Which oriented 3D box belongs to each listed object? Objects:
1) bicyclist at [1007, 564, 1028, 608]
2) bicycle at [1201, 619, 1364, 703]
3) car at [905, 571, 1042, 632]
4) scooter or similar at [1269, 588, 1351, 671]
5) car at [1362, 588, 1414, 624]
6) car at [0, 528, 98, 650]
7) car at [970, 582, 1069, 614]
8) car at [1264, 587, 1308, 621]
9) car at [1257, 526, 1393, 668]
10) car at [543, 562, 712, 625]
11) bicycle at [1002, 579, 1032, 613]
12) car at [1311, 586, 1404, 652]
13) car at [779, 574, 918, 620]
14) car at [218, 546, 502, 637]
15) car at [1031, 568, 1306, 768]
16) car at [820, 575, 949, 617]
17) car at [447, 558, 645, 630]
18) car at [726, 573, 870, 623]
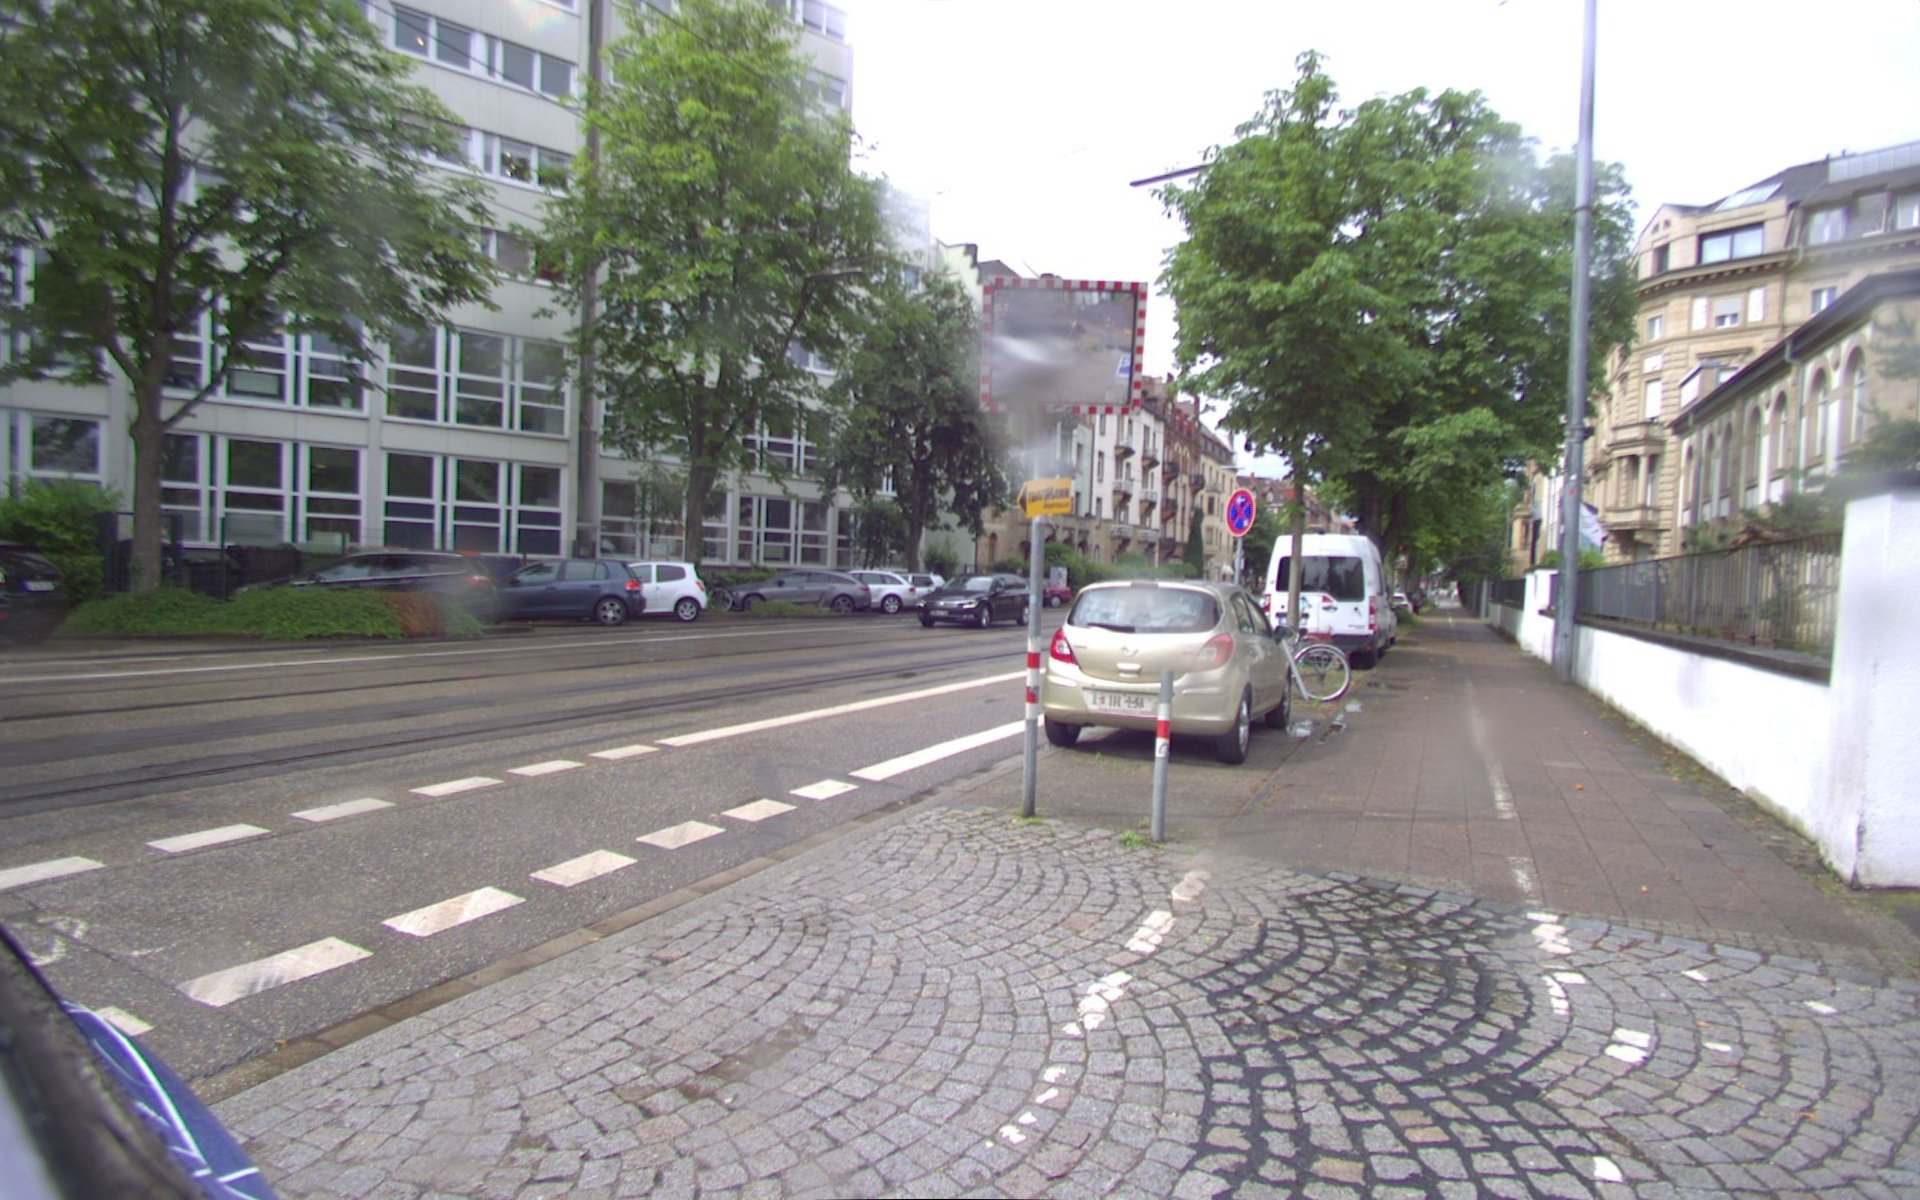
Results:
[{"bbox_3d":[2.190,-0.534,38.584,0.641,1.629,0.669,1,1,21],"label":"bicyclist"},{"bbox_3d":[4.115,0.748,12.952,1.917,0.994,0.679,0,1,25],"label":"bicycle"},{"bbox_3d":[0.477,-0.005,27.381,1.988,1.492,4.725,1,1,24],"label":"car"},{"bbox_3d":[5.696,0.482,16.494,1.132,1.286,0.426,3,-1,1],"label":"scooter or similar"},{"bbox_3d":[19.659,0.252,46.396,1.787,1.508,3.991,1,2,28],"label":"car"},{"bbox_3d":[-13.806,-0.193,12.894,3.913,1.492,1.821,1,1,-12],"label":"car"},{"bbox_3d":[2.830,-0.108,48.583,4.368,1.463,1.910,0,1,-10],"label":"car"},{"bbox_3d":[15.463,0.147,47.943,1.606,1.526,2.584,1,1,26],"label":"car"},{"bbox_3d":[7.650,-0.066,20.838,2.128,2.529,5.228,1,0,25],"label":"car"},{"bbox_3d":[-8.148,-0.175,24.887,3.815,1.464,1.783,0,1,-19],"label":"car"},{"bbox_3d":[2.189,-0.165,38.589,0.641,1.275,1.856,1,1,21],"label":"bicycle"},{"bbox_3d":[10.425,0.471,26.444,1.905,1.562,3.339,1,0,28],"label":"car"},{"bbox_3d":[-3.752,-0.123,33.835,4.319,1.463,1.891,0,1,-18],"label":"car"},{"bbox_3d":[-11.039,-0.160,18.999,4.295,1.566,1.884,0,0,-20],"label":"car"},{"bbox_3d":[2.150,0.485,9.538,1.681,1.471,3.800,1,0,26],"label":"car"},{"bbox_3d":[-2.745,-0.159,36.661,4.297,1.463,1.912,0,1,-18],"label":"car"},{"bbox_3d":[-8.866,-0.143,21.948,3.815,1.464,1.828,0,1,-19],"label":"car"},{"bbox_3d":[-4.987,-0.080,31.102,4.134,1.463,1.820,0,1,-18],"label":"car"}]
